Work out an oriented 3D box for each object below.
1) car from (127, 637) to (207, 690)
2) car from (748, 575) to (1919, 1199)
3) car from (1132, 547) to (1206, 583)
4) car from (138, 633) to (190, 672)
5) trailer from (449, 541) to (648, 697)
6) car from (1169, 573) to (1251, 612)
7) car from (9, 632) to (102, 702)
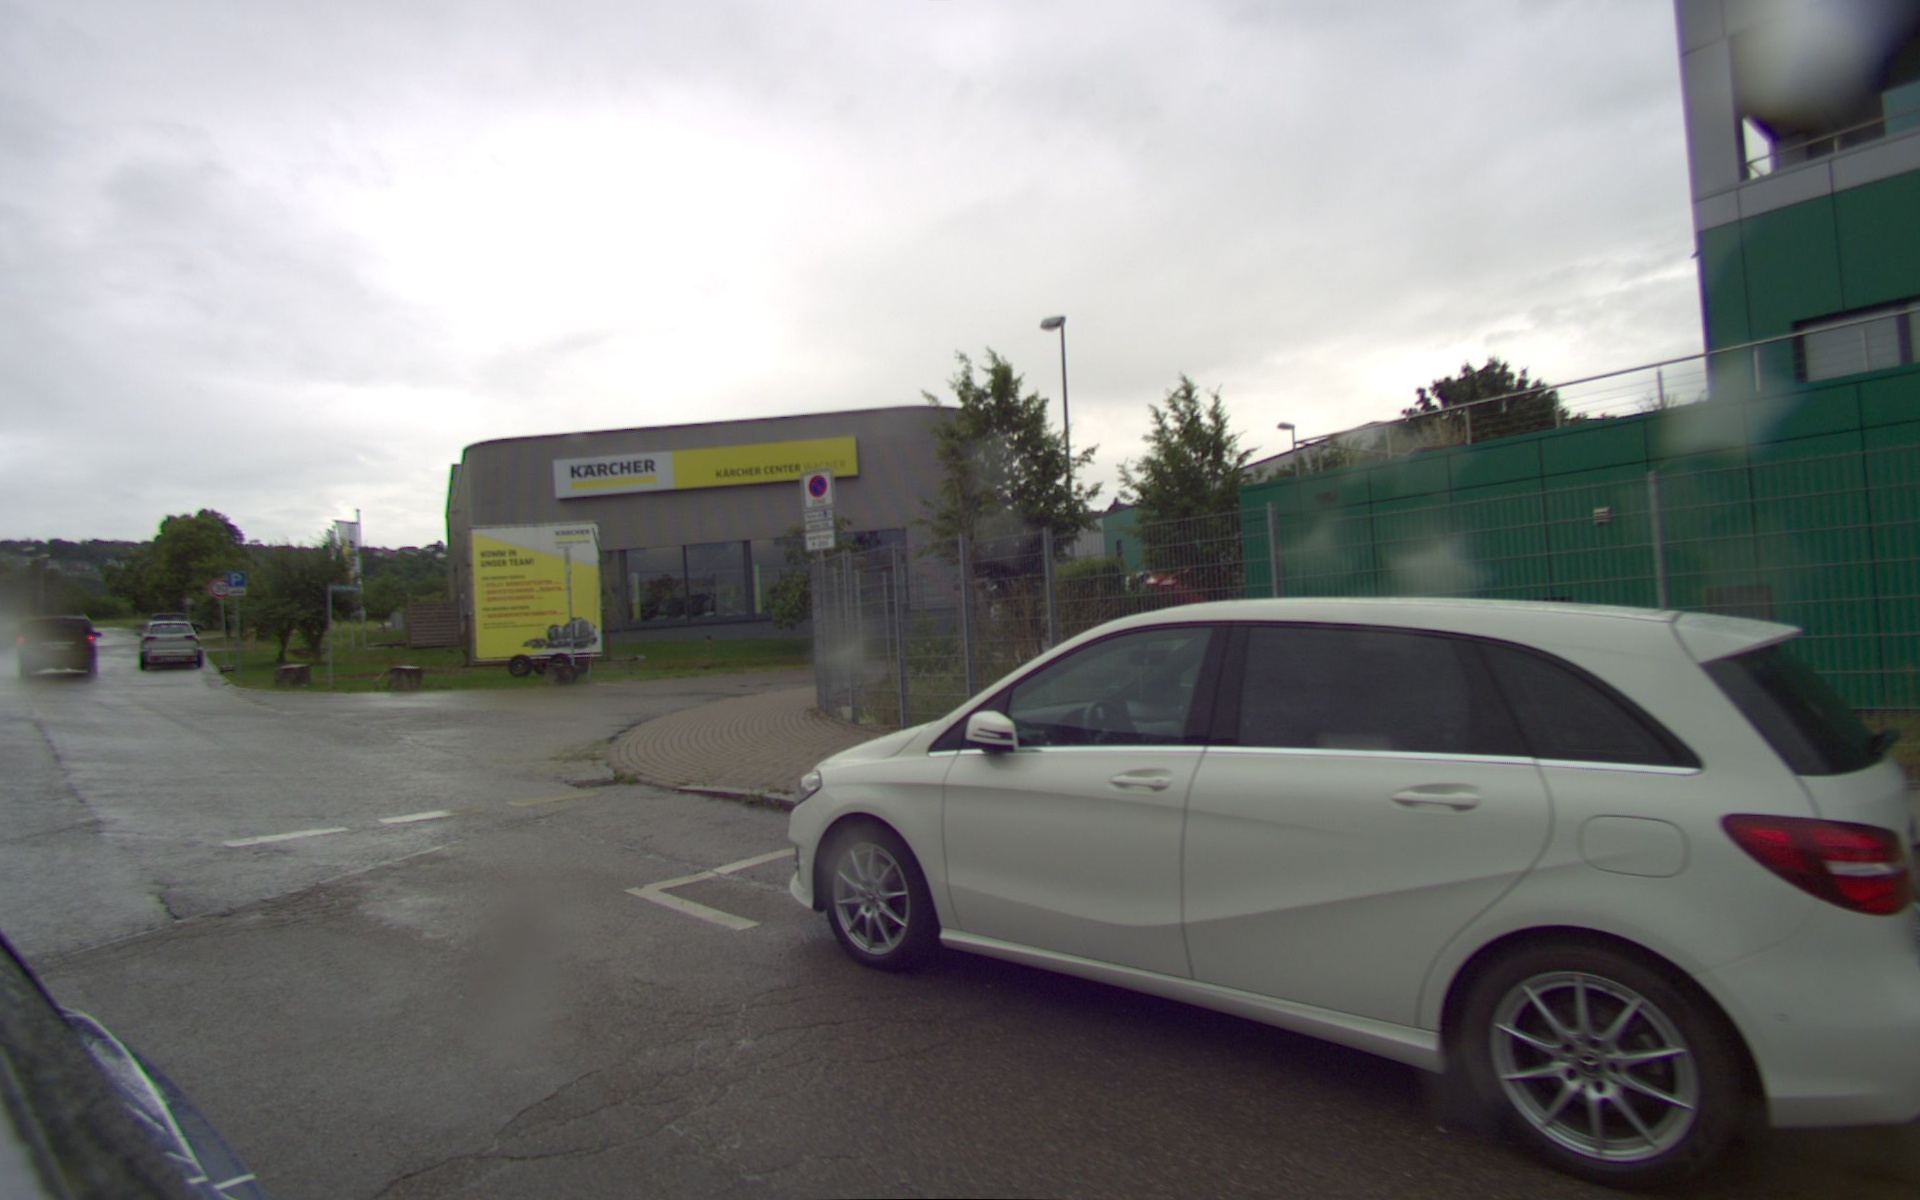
[{"bbox_3d":[-30.993,2.437,39.523,4.001,1.928,1.971,-3,-3,45],"label":"car"},{"bbox_3d":[1.197,0.769,3.999,4.247,1.547,1.717,-2,-1,40],"label":"car"},{"bbox_3d":[12.877,-2.173,62.446,3.932,2.072,2.006,-1,-1,-15],"label":"car"},{"bbox_3d":[-43.857,2.859,55.843,1.967,2.029,4.010,-1,-2,-34],"label":"car"},{"bbox_3d":[-11.516,0.527,28.612,4.632,4.120,2.389,-1,-1,-1],"label":"trailer"},{"bbox_3d":[14.051,-0.406,56.913,3.934,2.095,2.005,-1,-1,-12],"label":"car"},{"bbox_3d":[-29.180,2.095,32.594,2.038,2.029,4.514,0,-1,-44],"label":"car"}]
